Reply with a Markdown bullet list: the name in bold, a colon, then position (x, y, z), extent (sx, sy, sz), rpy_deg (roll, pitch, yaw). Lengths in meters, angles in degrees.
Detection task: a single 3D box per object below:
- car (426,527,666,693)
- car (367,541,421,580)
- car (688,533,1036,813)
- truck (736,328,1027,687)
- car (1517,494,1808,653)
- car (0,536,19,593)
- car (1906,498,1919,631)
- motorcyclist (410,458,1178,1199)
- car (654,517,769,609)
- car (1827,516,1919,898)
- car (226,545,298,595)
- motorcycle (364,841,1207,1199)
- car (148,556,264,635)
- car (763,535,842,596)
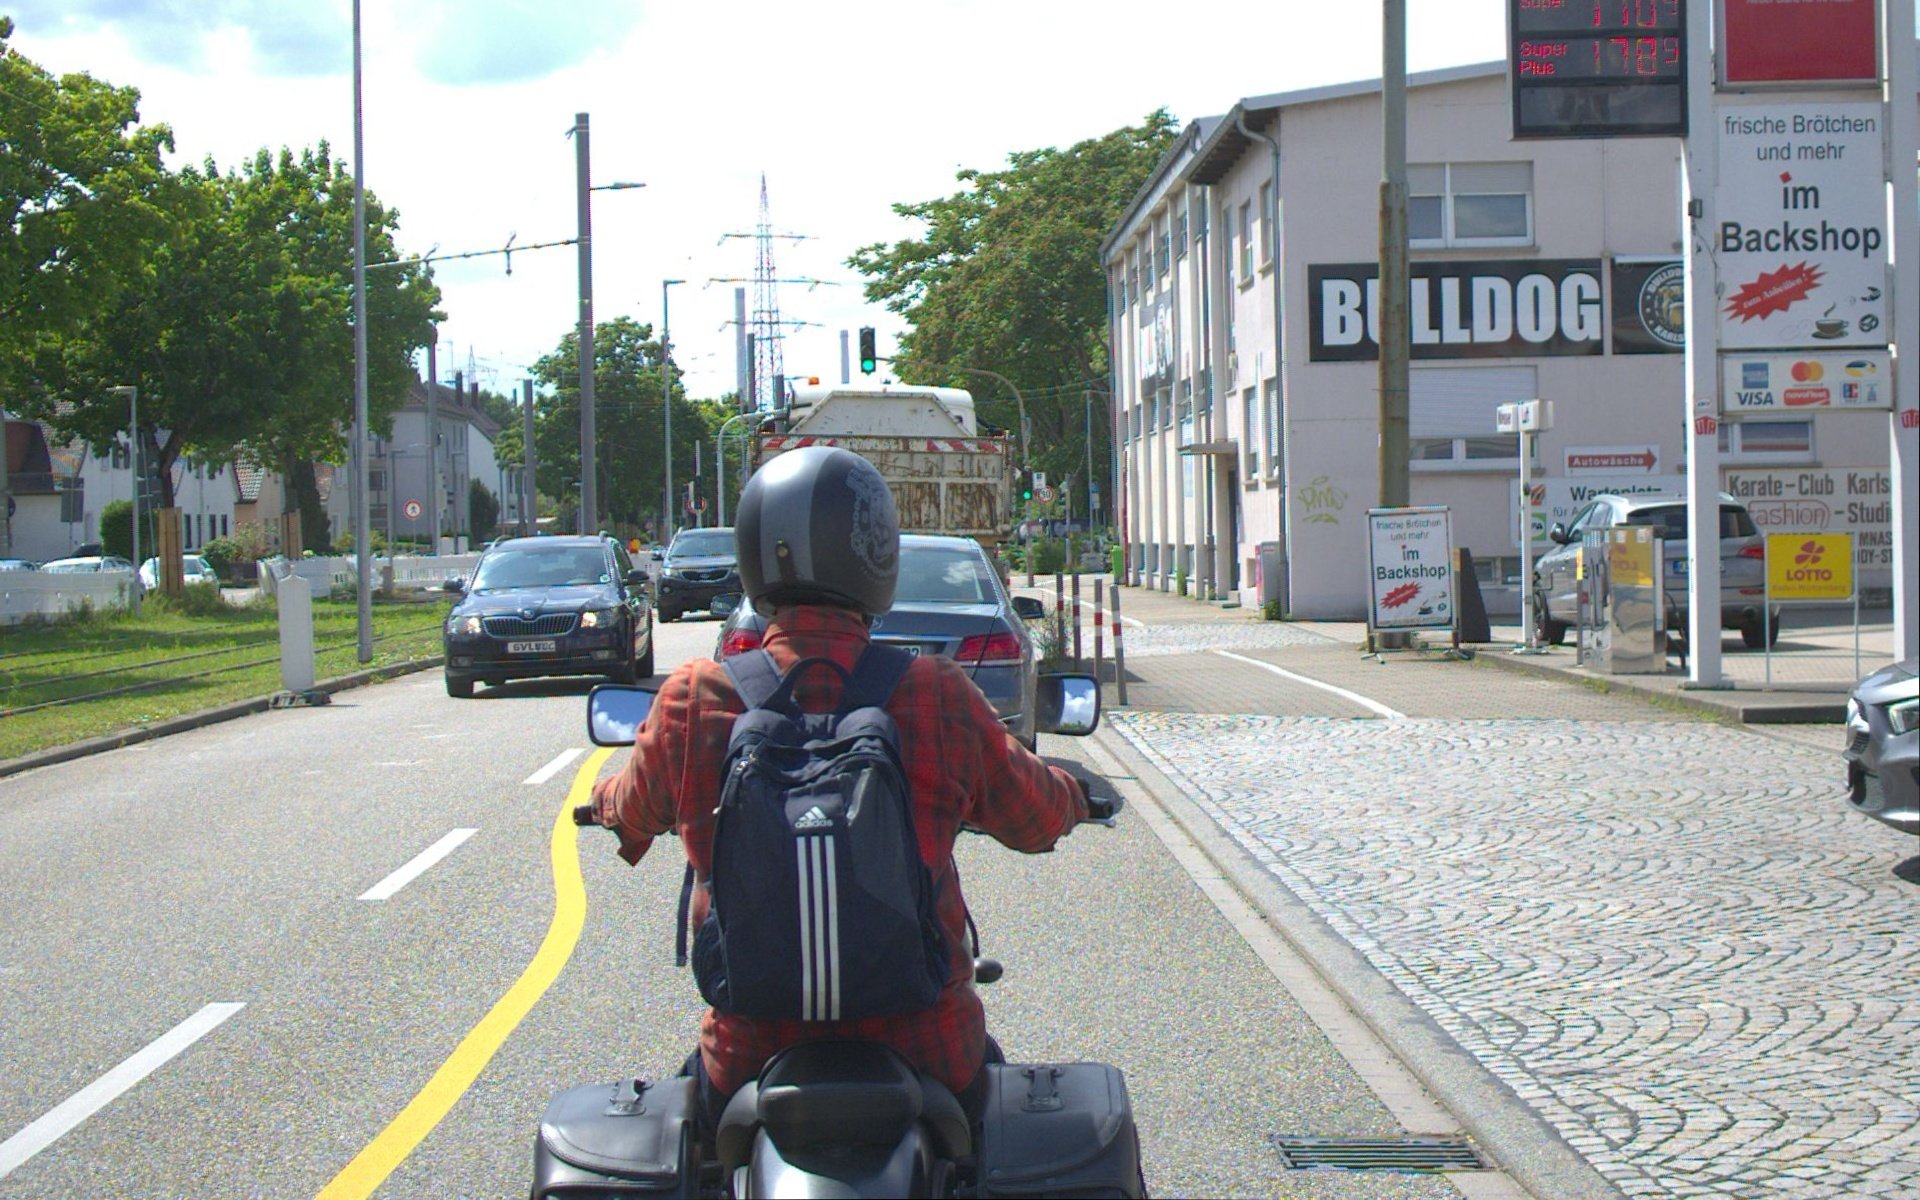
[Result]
- **car**: position (-3.972, 0.042, 33.618), extent (1.823, 1.447, 4.324), rpy_deg (-2, 1, -1)
- **car**: position (-26.434, -1.861, 160.660), extent (1.776, 1.717, 4.250), rpy_deg (-1, 1, 0)
- **car**: position (-0.541, 0.347, 20.232), extent (1.823, 1.447, 4.000), rpy_deg (1, 1, -1)
- **truck**: position (-0.775, -0.955, 36.057), extent (2.638, 3.285, 8.057), rpy_deg (-1, 1, -1)
- **car**: position (7.381, -0.309, 36.520), extent (1.667, 1.557, 4.245), rpy_deg (-1, 1, -8)
- **car**: position (-30.042, -1.067, 104.405), extent (1.776, 1.717, 4.128), rpy_deg (-1, 1, 0)
- **car**: position (11.736, -0.385, 37.090), extent (1.806, 1.498, 3.834), rpy_deg (-1, 1, -3)
- **motorcyclist**: position (-0.214, 0.612, 5.027), extent (0.979, 1.597, 1.088), rpy_deg (-1, 1, -1)
- **car**: position (-4.626, -0.721, 64.489), extent (1.823, 1.596, 4.324), rpy_deg (-2, 1, -1)
- **car**: position (5.570, 0.350, 13.188), extent (4.275, 1.410, 1.673), rpy_deg (-1, 1, 12)
- **car**: position (-25.417, -1.106, 125.241), extent (1.776, 1.717, 4.128), rpy_deg (-1, 1, 0)
- **motorcycle**: position (-0.210, 0.954, 5.338), extent (0.979, 0.894, 2.653), rpy_deg (-1, 1, -1)
- **car**: position (-17.495, -0.135, 79.960), extent (1.776, 1.717, 4.128), rpy_deg (-1, 1, 0)
- **car**: position (-4.023, -0.916, 88.397), extent (1.823, 1.447, 4.324), rpy_deg (-2, 1, -1)
